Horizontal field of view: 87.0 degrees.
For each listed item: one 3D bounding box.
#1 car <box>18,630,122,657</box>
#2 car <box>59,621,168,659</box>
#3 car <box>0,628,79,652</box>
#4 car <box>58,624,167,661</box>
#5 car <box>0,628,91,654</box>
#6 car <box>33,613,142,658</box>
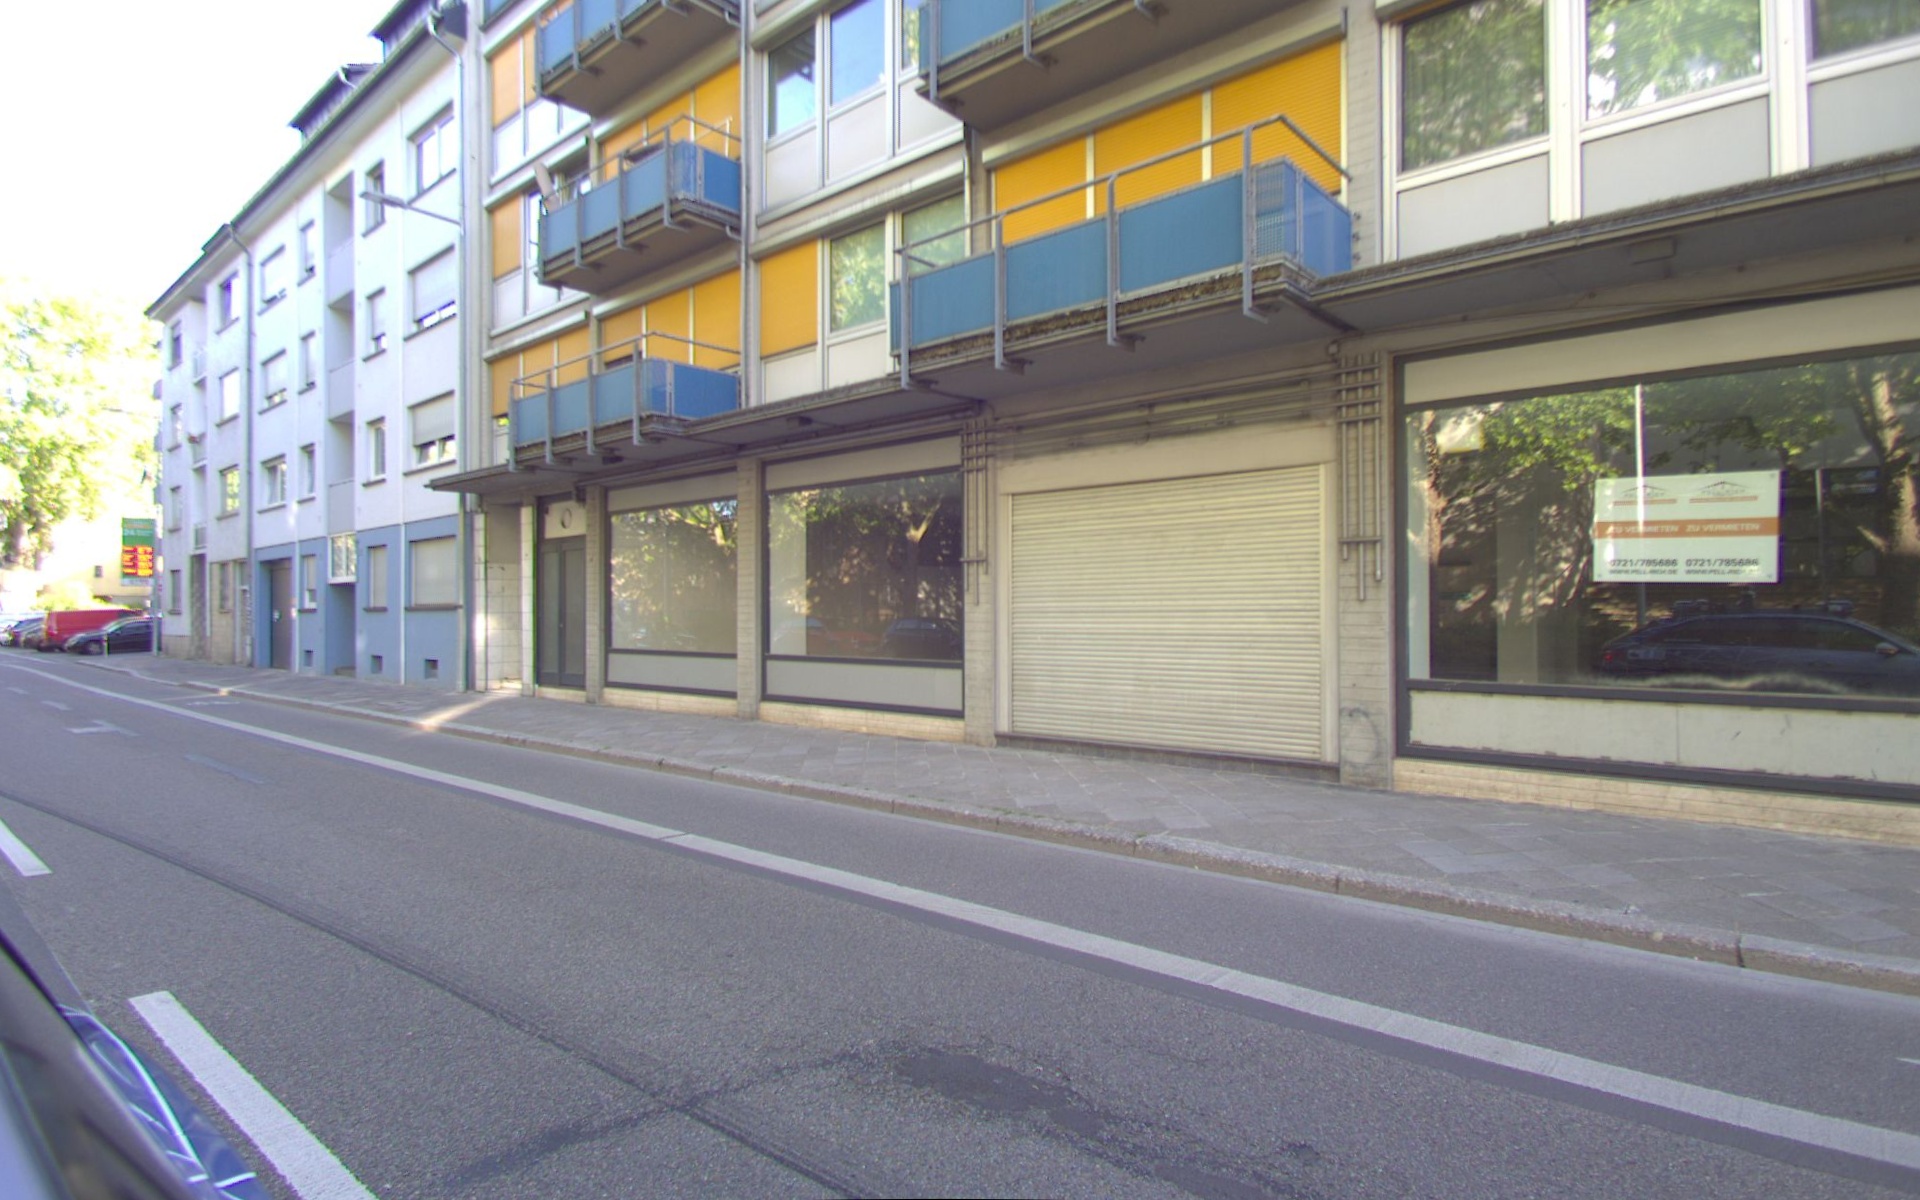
[{"bbox_3d":[-42.817,2.072,48.732,1.345,1.137,3.638,-1,0,43],"label":"car"},{"bbox_3d":[-38.195,1.767,45.718,1.490,1.523,3.638,-1,0,43],"label":"car"},{"bbox_3d":[-52.263,2.247,57.499,1.345,1.254,3.228,-1,0,43],"label":"car"},{"bbox_3d":[-36.679,1.810,43.838,1.490,1.398,3.462,-1,0,43],"label":"car"},{"bbox_3d":[-50.449,2.239,55.869,1.345,1.254,3.638,-1,0,43],"label":"car"},{"bbox_3d":[-40.654,1.647,47.218,1.488,1.923,3.642,-4,-2,39],"label":"car"}]
